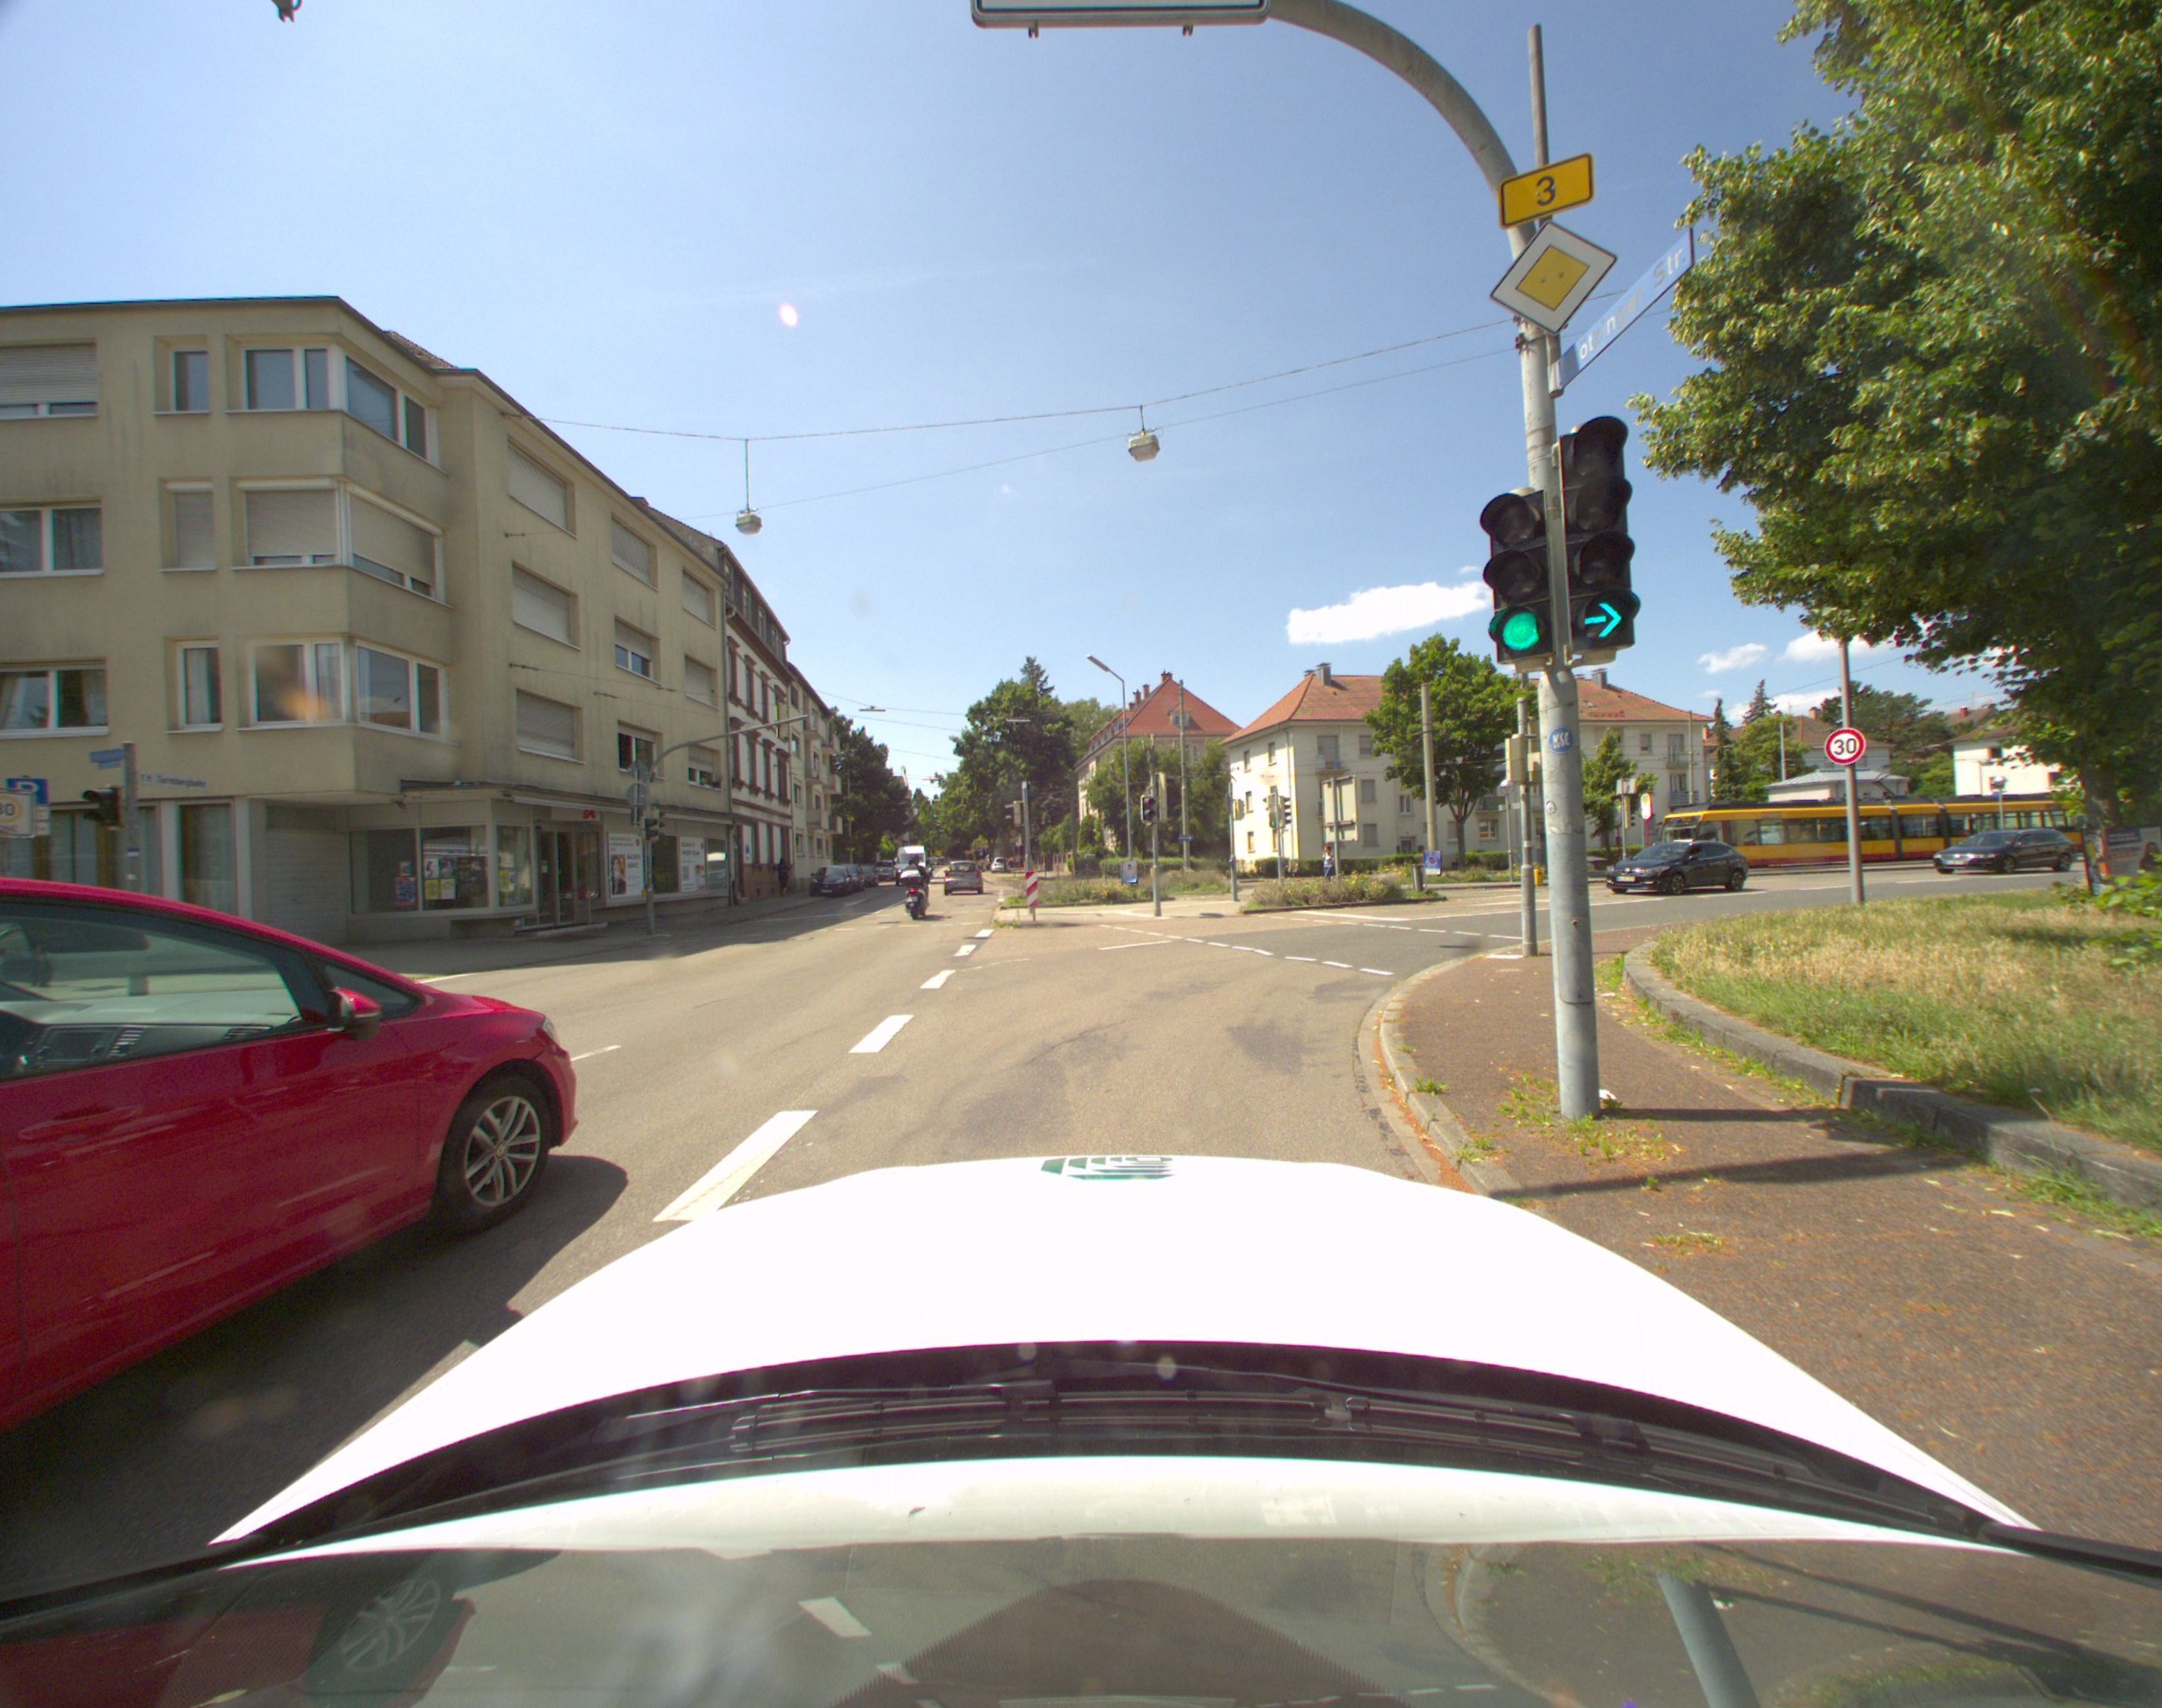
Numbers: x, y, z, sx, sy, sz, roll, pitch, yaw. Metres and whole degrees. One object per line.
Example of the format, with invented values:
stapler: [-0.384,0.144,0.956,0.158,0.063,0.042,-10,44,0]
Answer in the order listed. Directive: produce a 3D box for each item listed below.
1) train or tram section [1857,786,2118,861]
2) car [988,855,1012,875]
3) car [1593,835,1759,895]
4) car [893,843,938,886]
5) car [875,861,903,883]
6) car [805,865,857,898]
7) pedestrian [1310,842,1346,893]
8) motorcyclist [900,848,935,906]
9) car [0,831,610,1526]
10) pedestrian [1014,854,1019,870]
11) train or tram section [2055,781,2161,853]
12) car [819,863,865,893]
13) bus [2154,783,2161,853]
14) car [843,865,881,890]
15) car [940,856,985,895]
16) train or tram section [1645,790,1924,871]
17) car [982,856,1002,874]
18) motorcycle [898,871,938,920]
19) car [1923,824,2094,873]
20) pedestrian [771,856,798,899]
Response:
train or tram section: [49.491,-1.684,44.409,14.674,3.568,2.781,-2,-1,-13]
car: [-7.963,1.059,80.156,1.994,1.807,3.985,-1,0,-11]
car: [17.209,0.287,23.544,4.434,1.500,1.983,-2,0,-26]
car: [-11.138,0.707,55.296,2.214,2.501,7.534,-5,0,-7]
car: [-16.315,1.512,69.438,1.797,1.718,4.028,1,-1,-7]
car: [-12.160,1.325,39.851,1.995,1.519,3.984,-1,-1,-11]
pedestrian: [8.475,0.460,27.992,0.839,1.705,0.756,-2,-1,-26]
motorcyclist: [-4.178,0.575,20.832,0.709,1.445,1.017,-2,0,-4]
car: [-3.328,0.748,2.038,1.792,1.558,4.040,-1,0,2]
pedestrian: [-6.921,0.863,87.394,0.508,1.656,0.465,-1,0,-5]
train or tram section: [65.040,-2.319,48.172,15.518,3.895,2.781,-2,-1,-13]
car: [-13.023,1.324,44.506,1.994,1.519,3.985,-1,-1,-11]
bus: [54.739,-1.843,36.946,11.983,3.129,2.726,-2,-1,-14]
car: [-14.250,1.497,53.167,1.994,1.510,3.985,-2,-1,-11]
car: [-5.268,0.916,36.246,1.798,1.558,4.026,-2,0,-8]
train or tram section: [35.503,-1.185,41.051,14.150,3.568,2.806,-2,-1,-13]
car: [-10.220,1.233,93.399,1.994,1.906,3.985,-1,0,-11]
motorcycle: [-4.170,1.042,20.928,0.709,1.134,2.194,-2,0,-4]
car: [32.101,-0.195,28.239,4.501,1.519,1.991,-2,0,-13]
pedestrian: [-13.692,1.062,37.656,0.935,1.931,0.973,-2,-1,-10]
